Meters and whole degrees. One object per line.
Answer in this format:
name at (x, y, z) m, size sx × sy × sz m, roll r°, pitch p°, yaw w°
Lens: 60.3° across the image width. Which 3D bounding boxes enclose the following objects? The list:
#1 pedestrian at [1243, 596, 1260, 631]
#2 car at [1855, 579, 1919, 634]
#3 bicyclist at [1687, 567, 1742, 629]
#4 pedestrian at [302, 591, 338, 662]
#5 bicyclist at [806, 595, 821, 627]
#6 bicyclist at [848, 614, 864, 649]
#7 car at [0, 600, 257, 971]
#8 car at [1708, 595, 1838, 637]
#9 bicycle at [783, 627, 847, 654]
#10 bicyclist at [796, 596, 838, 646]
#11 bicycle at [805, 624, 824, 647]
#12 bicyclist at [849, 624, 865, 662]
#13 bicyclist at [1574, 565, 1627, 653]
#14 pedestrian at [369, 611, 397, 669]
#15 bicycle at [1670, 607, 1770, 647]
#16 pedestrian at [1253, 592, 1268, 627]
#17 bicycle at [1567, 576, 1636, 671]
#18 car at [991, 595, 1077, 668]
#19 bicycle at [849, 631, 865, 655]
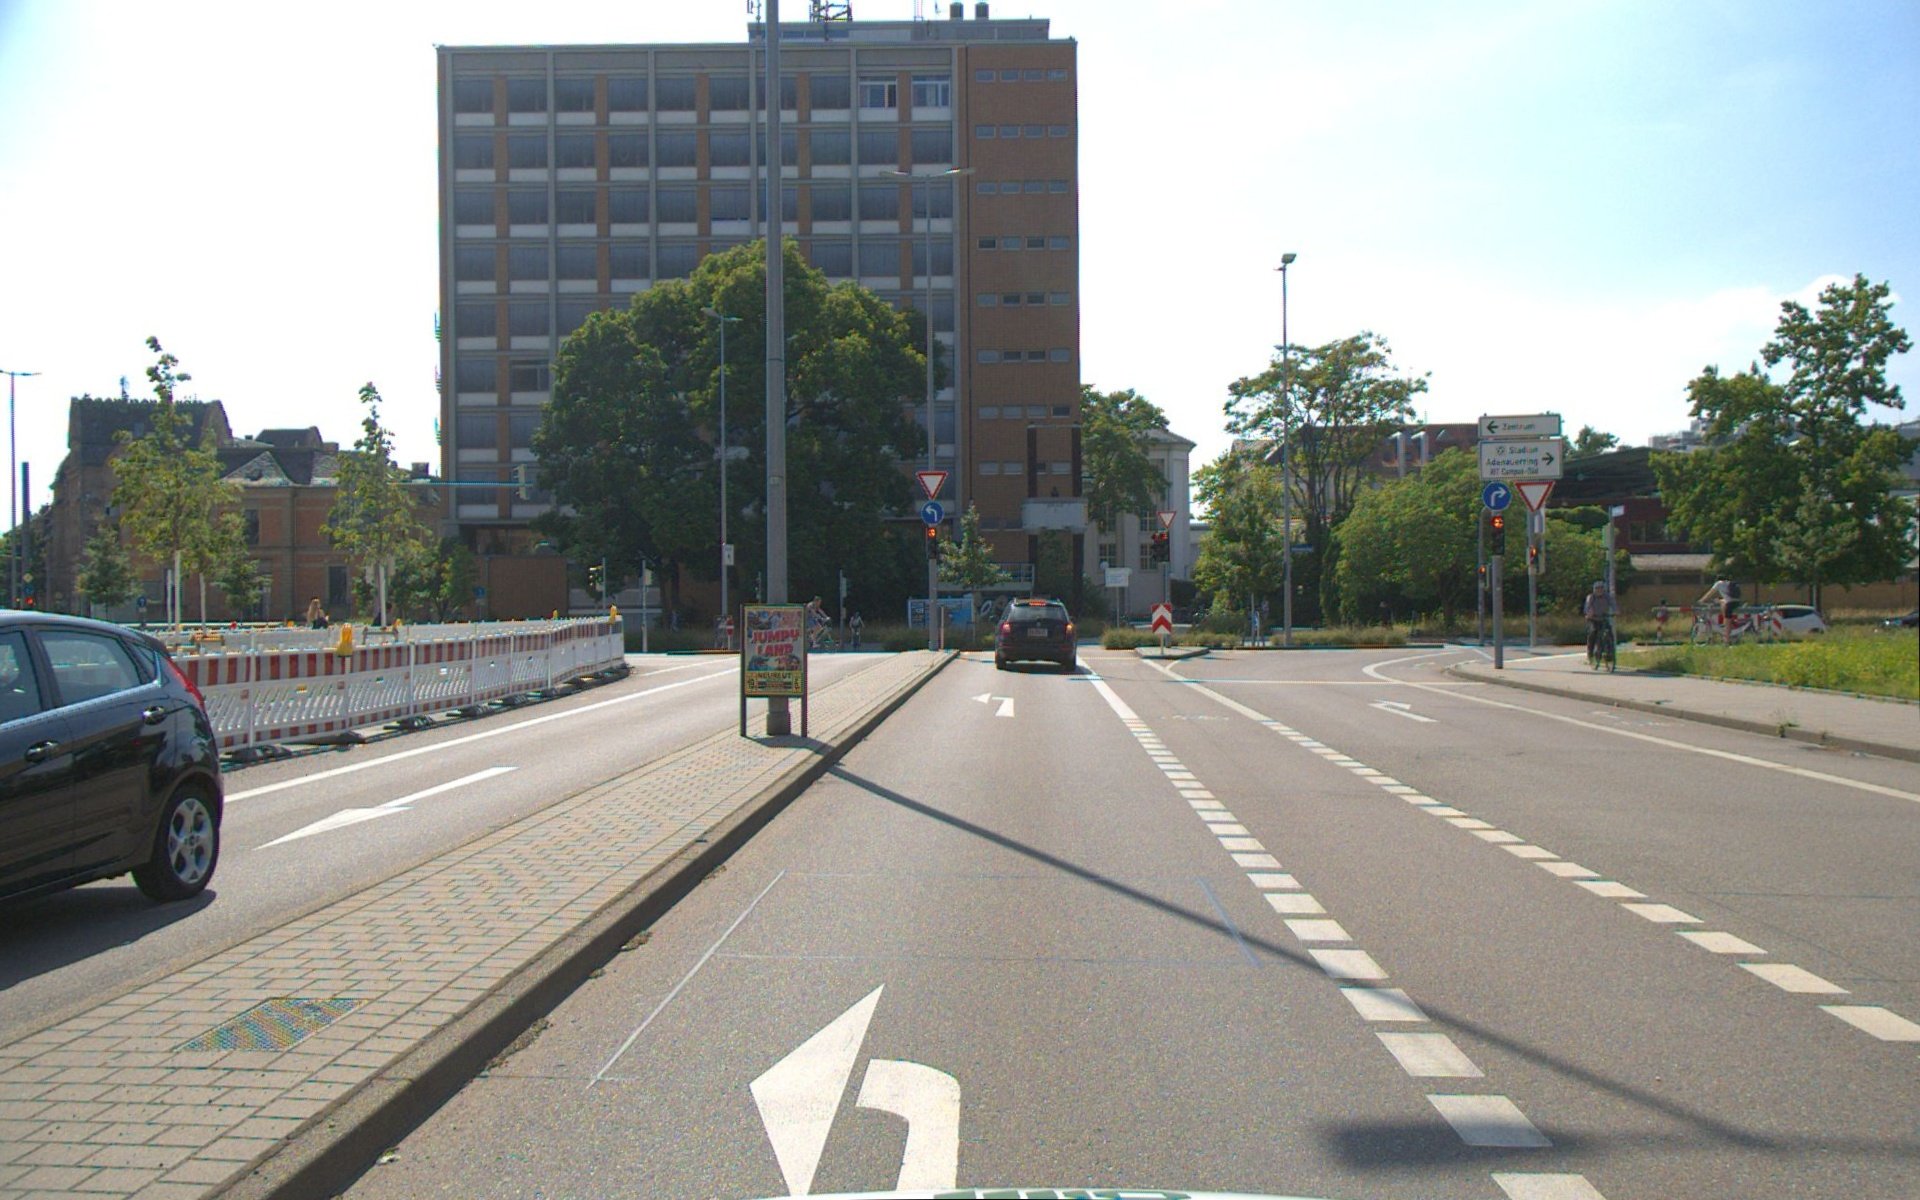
pedestrian at (16.147, 0.729, 91.543) m, size 0.777 × 1.907 × 0.639 m, roll -2°, pitch 0°, yaw 16°
car at (36.288, 0.215, 62.432) m, size 3.903 × 2.049 × 2.001 m, roll -1°, pitch 0°, yaw 4°
bicyclist at (18.494, -0.040, 40.557) m, size 0.492 × 1.496 × 1.126 m, roll 2°, pitch -2°, yaw -40°
pedestrian at (-16.643, 0.697, 43.031) m, size 0.723 × 1.783 × 1.107 m, roll -1°, pitch -3°, yaw -14°
bicyclist at (-6.629, 0.497, 74.799) m, size 0.528 × 1.441 × 1.030 m, roll -2°, pitch -1°, yaw 0°
bicyclist at (-4.531, 1.377, 72.351) m, size 0.606 × 1.468 × 0.920 m, roll -3°, pitch 0°, yaw -3°
car at (-4.652, 0.772, 6.888) m, size 1.631 × 1.476 × 3.819 m, roll -2°, pitch 0°, yaw 3°
car at (30.679, 0.611, 62.492) m, size 3.904 × 1.490 × 2.000 m, roll -1°, pitch -1°, yaw 2°
bicycle at (-4.408, 1.236, 50.417) m, size 1.850 × 0.806 × 0.561 m, roll -1°, pitch 1°, yaw 15°
bicyclist at (-4.359, 0.636, 50.395) m, size 1.140 × 1.500 × 0.564 m, roll -1°, pitch 0°, yaw 14°
bicycle at (-6.603, 1.601, 75.094) m, size 0.690 × 0.994 × 2.031 m, roll -1°, pitch 0°, yaw 0°
bicyclist at (-4.505, 1.861, 72.347) m, size 0.606 × 1.609 × 1.013 m, roll -3°, pitch 0°, yaw -3°
bicyclist at (12.523, 0.173, 32.355) m, size 0.664 × 1.684 × 0.919 m, roll -1°, pitch 0°, yaw 2°
pedestrian at (-15.515, 1.073, 44.500) m, size 0.620 × 1.518 × 0.614 m, roll -1°, pitch 0°, yaw -14°
bicycle at (18.604, 0.662, 40.510) m, size 0.668 × 0.932 × 2.137 m, roll -1°, pitch 0°, yaw -40°
pedestrian at (16.451, 0.527, 90.498) m, size 0.623 × 1.907 × 0.796 m, roll -2°, pitch 0°, yaw 2°
bicycle at (12.523, 0.441, 32.343) m, size 0.664 × 1.796 × 1.811 m, roll -1°, pitch 0°, yaw 2°
car at (1.604, 0.654, 35.900) m, size 1.742 × 1.468 × 3.819 m, roll 1°, pitch 0°, yaw 3°
bicycle at (-4.505, 1.861, 72.347) m, size 0.606 × 0.977 × 1.967 m, roll -3°, pitch 0°, yaw -3°
